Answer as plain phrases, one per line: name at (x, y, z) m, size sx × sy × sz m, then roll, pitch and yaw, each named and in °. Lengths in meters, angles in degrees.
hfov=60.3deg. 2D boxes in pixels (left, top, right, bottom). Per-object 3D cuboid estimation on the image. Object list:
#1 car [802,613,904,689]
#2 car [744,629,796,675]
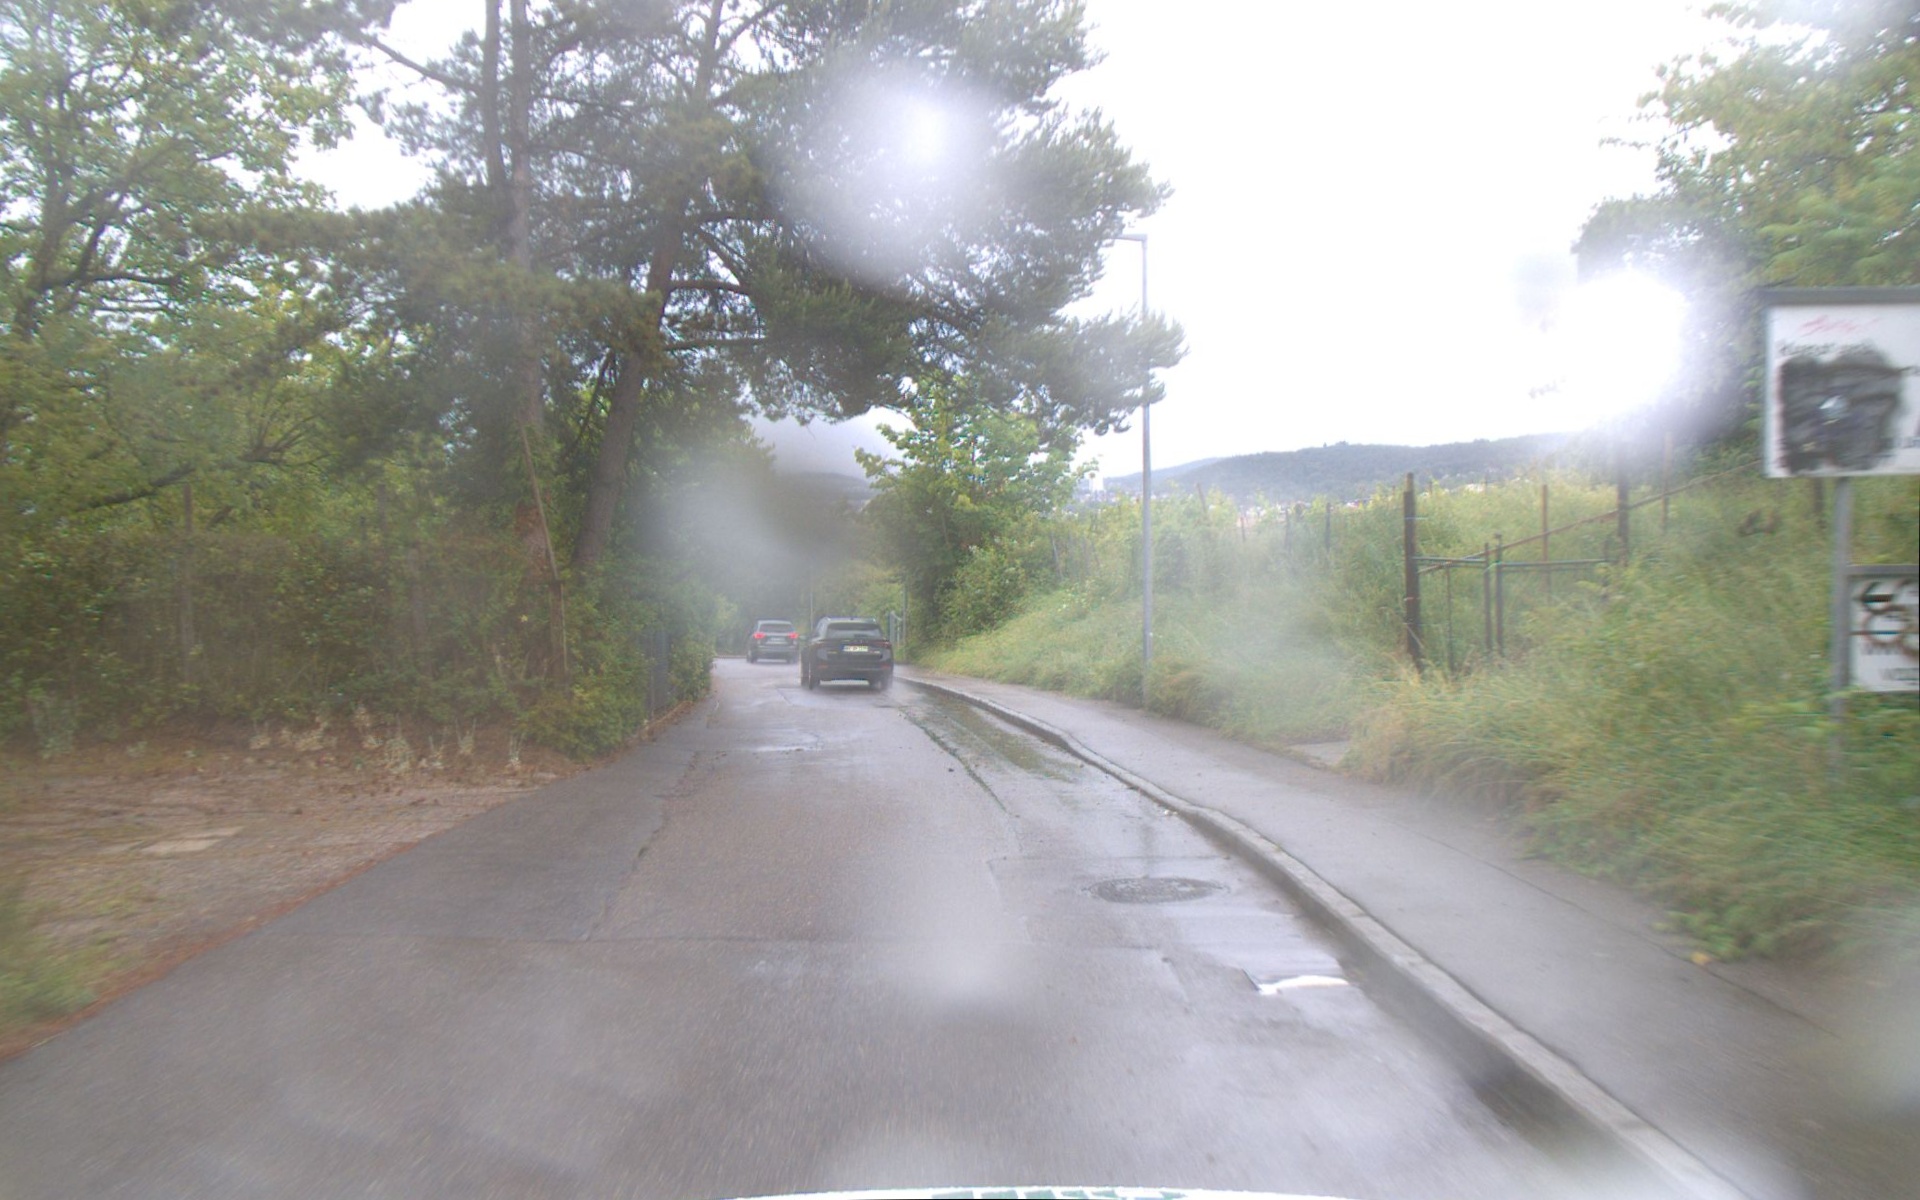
car at (-2.326, 1.053, 35.000) m, size 1.801 × 1.490 × 3.992 m, roll -1°, pitch -1°, yaw -9°
car at (-7.111, 1.901, 61.584) m, size 1.648 × 1.592 × 3.784 m, roll 0°, pitch 0°, yaw -11°
